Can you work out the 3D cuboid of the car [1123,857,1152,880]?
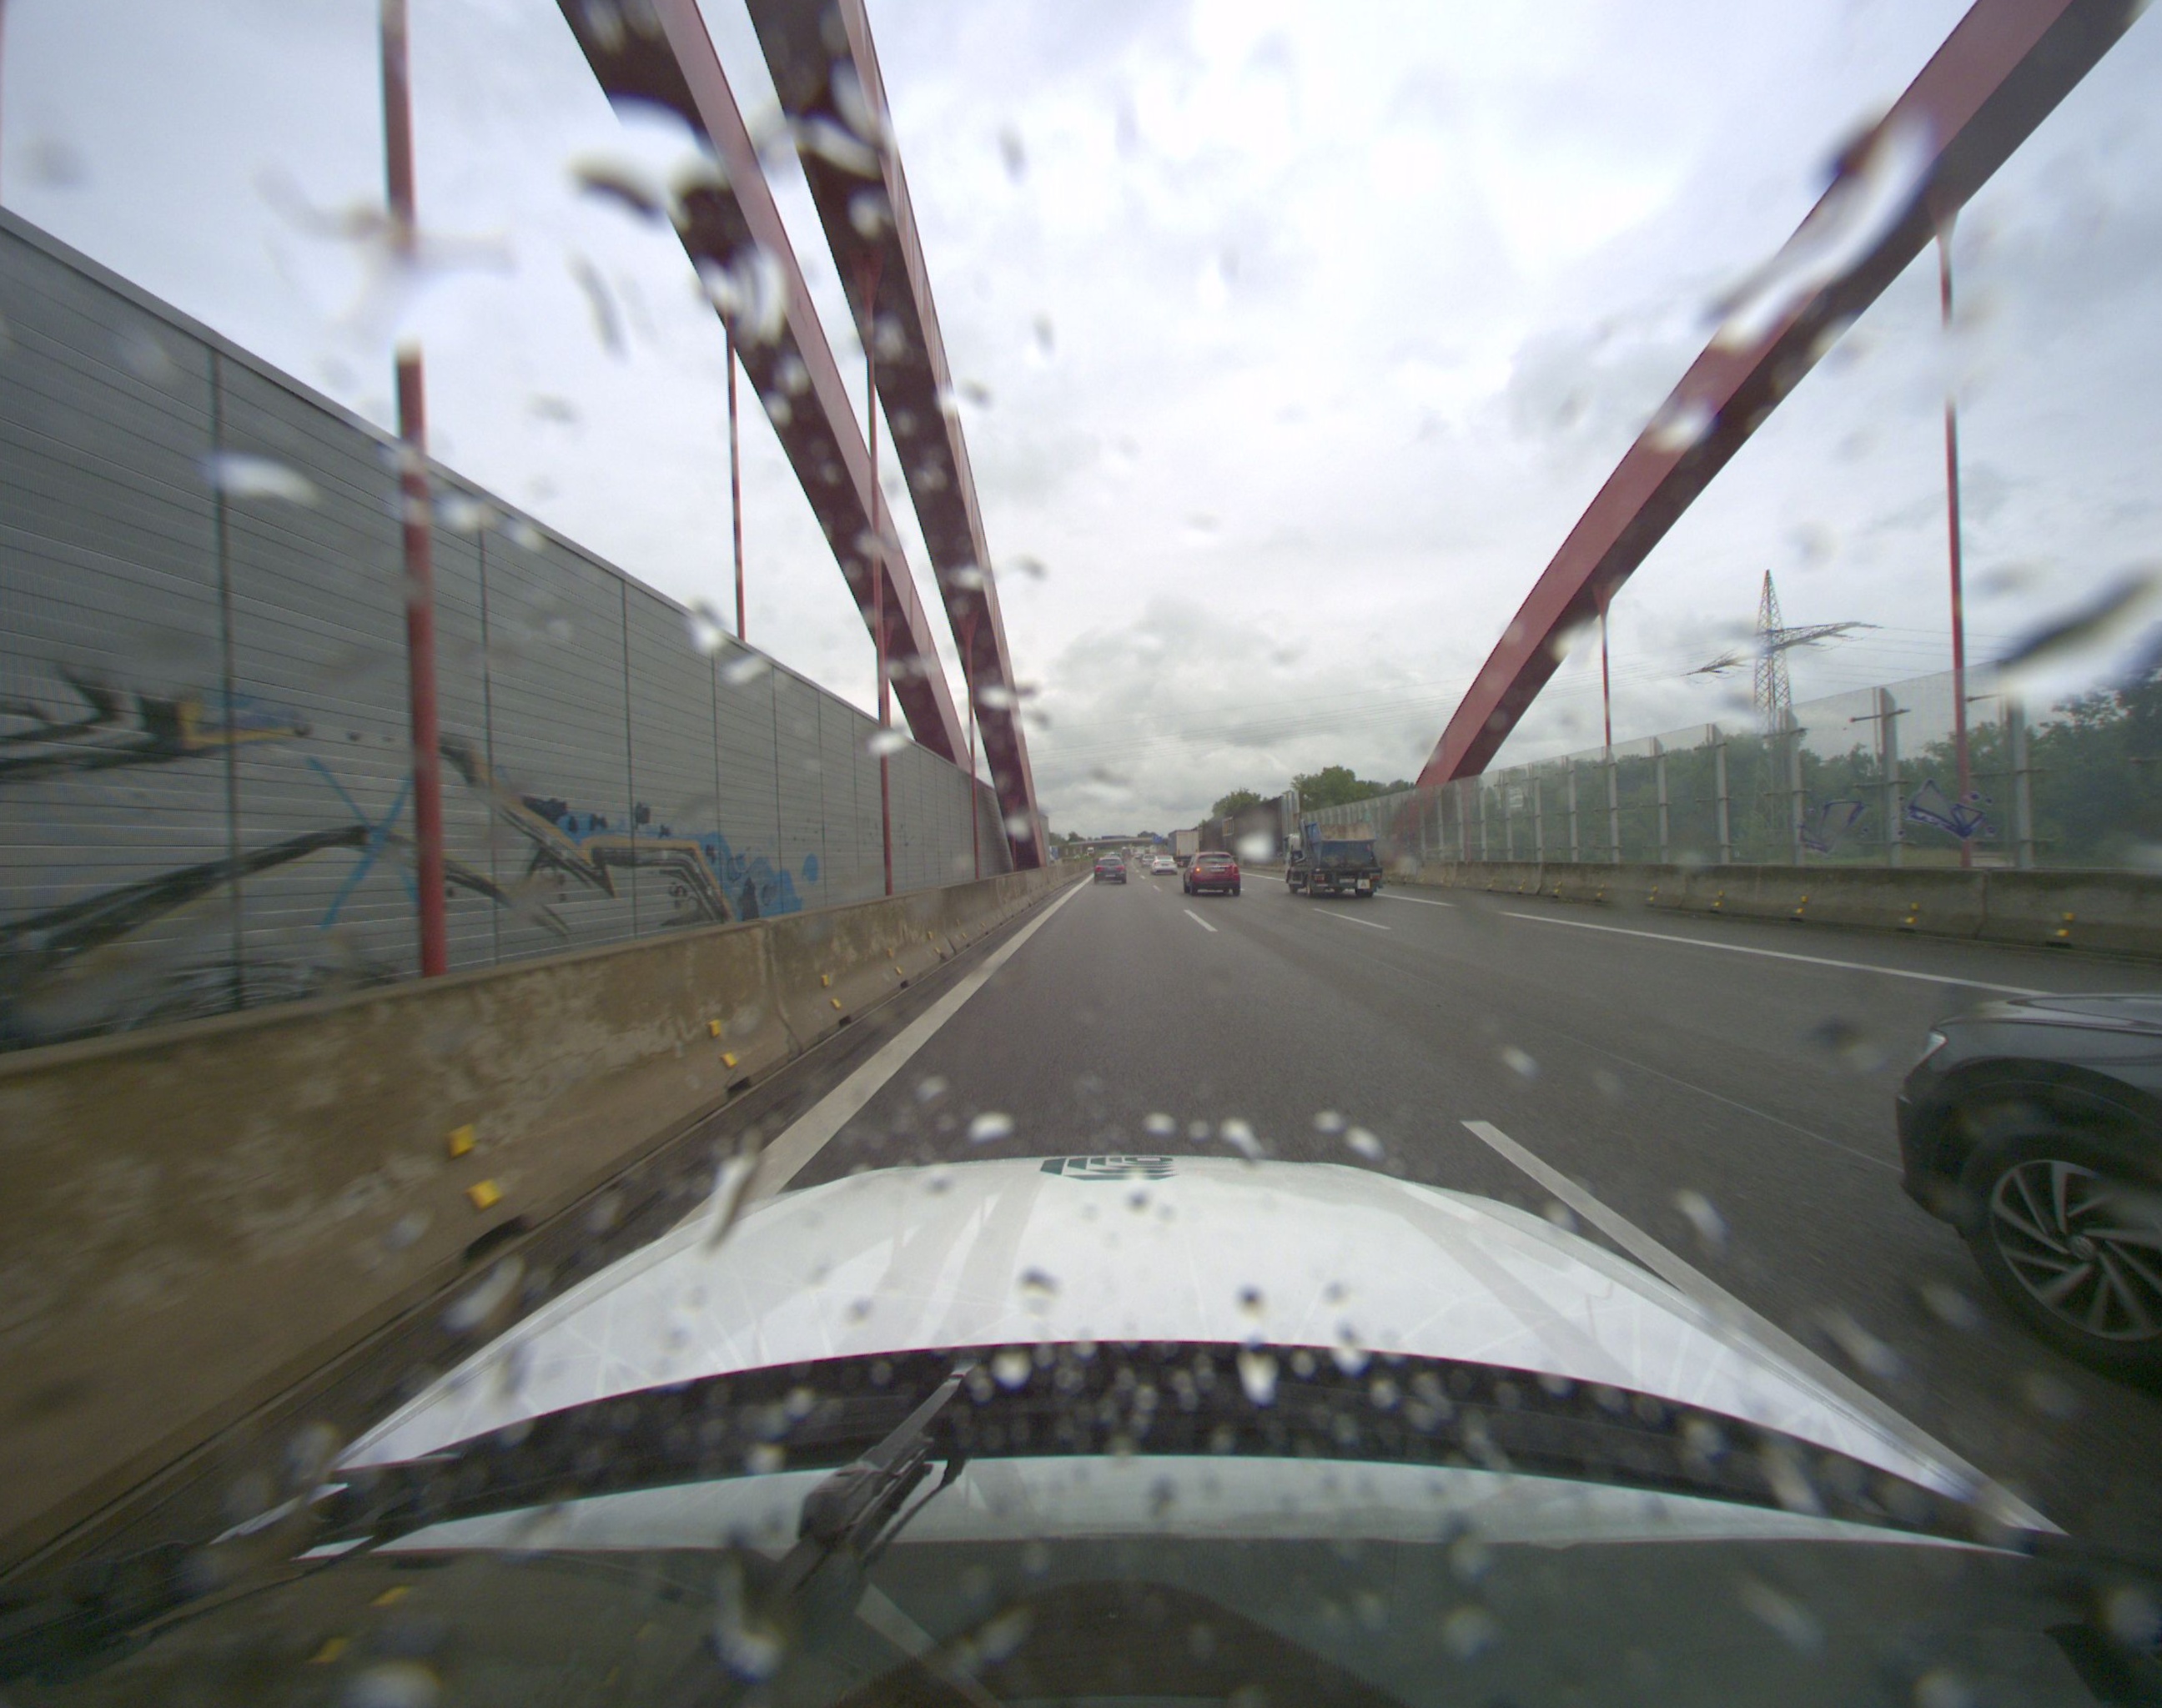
[{"bbox_3d":[3.969,0.986,57.443,1.985,1.519,4.004,-1,0,3],"label":"car"}]

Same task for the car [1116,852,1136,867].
[{"bbox_3d":[4.866,0.597,88.321,1.987,1.585,3.999,-1,0,0],"label":"car"}]

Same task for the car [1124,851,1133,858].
[{"bbox_3d":[10.744,0.122,182.632,1.985,1.624,4.004,-1,0,3],"label":"car"}]

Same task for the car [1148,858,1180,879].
[{"bbox_3d":[6.177,1.043,60.711,1.987,1.486,4.000,-1,0,0],"label":"car"}]

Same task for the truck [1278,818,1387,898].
[{"bbox_3d":[8.727,0.125,28.990,2.351,2.506,6.151,-1,0,4],"label":"truck"}]

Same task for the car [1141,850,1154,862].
[{"bbox_3d":[11.348,0.278,140.134,1.986,2.013,4.001,0,0,1],"label":"car"}]

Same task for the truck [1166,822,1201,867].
[{"bbox_3d":[11.256,-0.994,90.034,3.033,4.734,7.681,0,0,1],"label":"truck"}]

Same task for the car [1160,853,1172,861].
[{"bbox_3d":[16.364,0.501,156.433,1.986,1.519,4.002,-1,0,2],"label":"car"}]

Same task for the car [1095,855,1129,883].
[{"bbox_3d":[1.687,0.778,44.536,1.757,1.453,4.001,-1,0,1],"label":"car"}]

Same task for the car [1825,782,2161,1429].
[{"bbox_3d":[3.705,0.634,0.989,1.905,1.670,4.105,-1,0,1],"label":"car"}]

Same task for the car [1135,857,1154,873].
[{"bbox_3d":[6.856,1.167,88.021,1.696,1.543,3.838,-1,0,0],"label":"car"}]

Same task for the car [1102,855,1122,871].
[{"bbox_3d":[2.850,0.821,75.214,1.776,1.406,3.626,-1,0,0],"label":"car"}]

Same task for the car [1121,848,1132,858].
[{"bbox_3d":[8.528,-0.122,152.229,1.986,1.815,4.001,-1,0,1],"label":"car"}]

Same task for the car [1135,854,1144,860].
[{"bbox_3d":[14.050,0.688,195.399,1.986,1.519,4.002,-1,0,2],"label":"car"}]

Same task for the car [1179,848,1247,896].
[{"bbox_3d":[4.880,0.607,30.642,1.951,1.647,4.000,1,1,0],"label":"car"}]
